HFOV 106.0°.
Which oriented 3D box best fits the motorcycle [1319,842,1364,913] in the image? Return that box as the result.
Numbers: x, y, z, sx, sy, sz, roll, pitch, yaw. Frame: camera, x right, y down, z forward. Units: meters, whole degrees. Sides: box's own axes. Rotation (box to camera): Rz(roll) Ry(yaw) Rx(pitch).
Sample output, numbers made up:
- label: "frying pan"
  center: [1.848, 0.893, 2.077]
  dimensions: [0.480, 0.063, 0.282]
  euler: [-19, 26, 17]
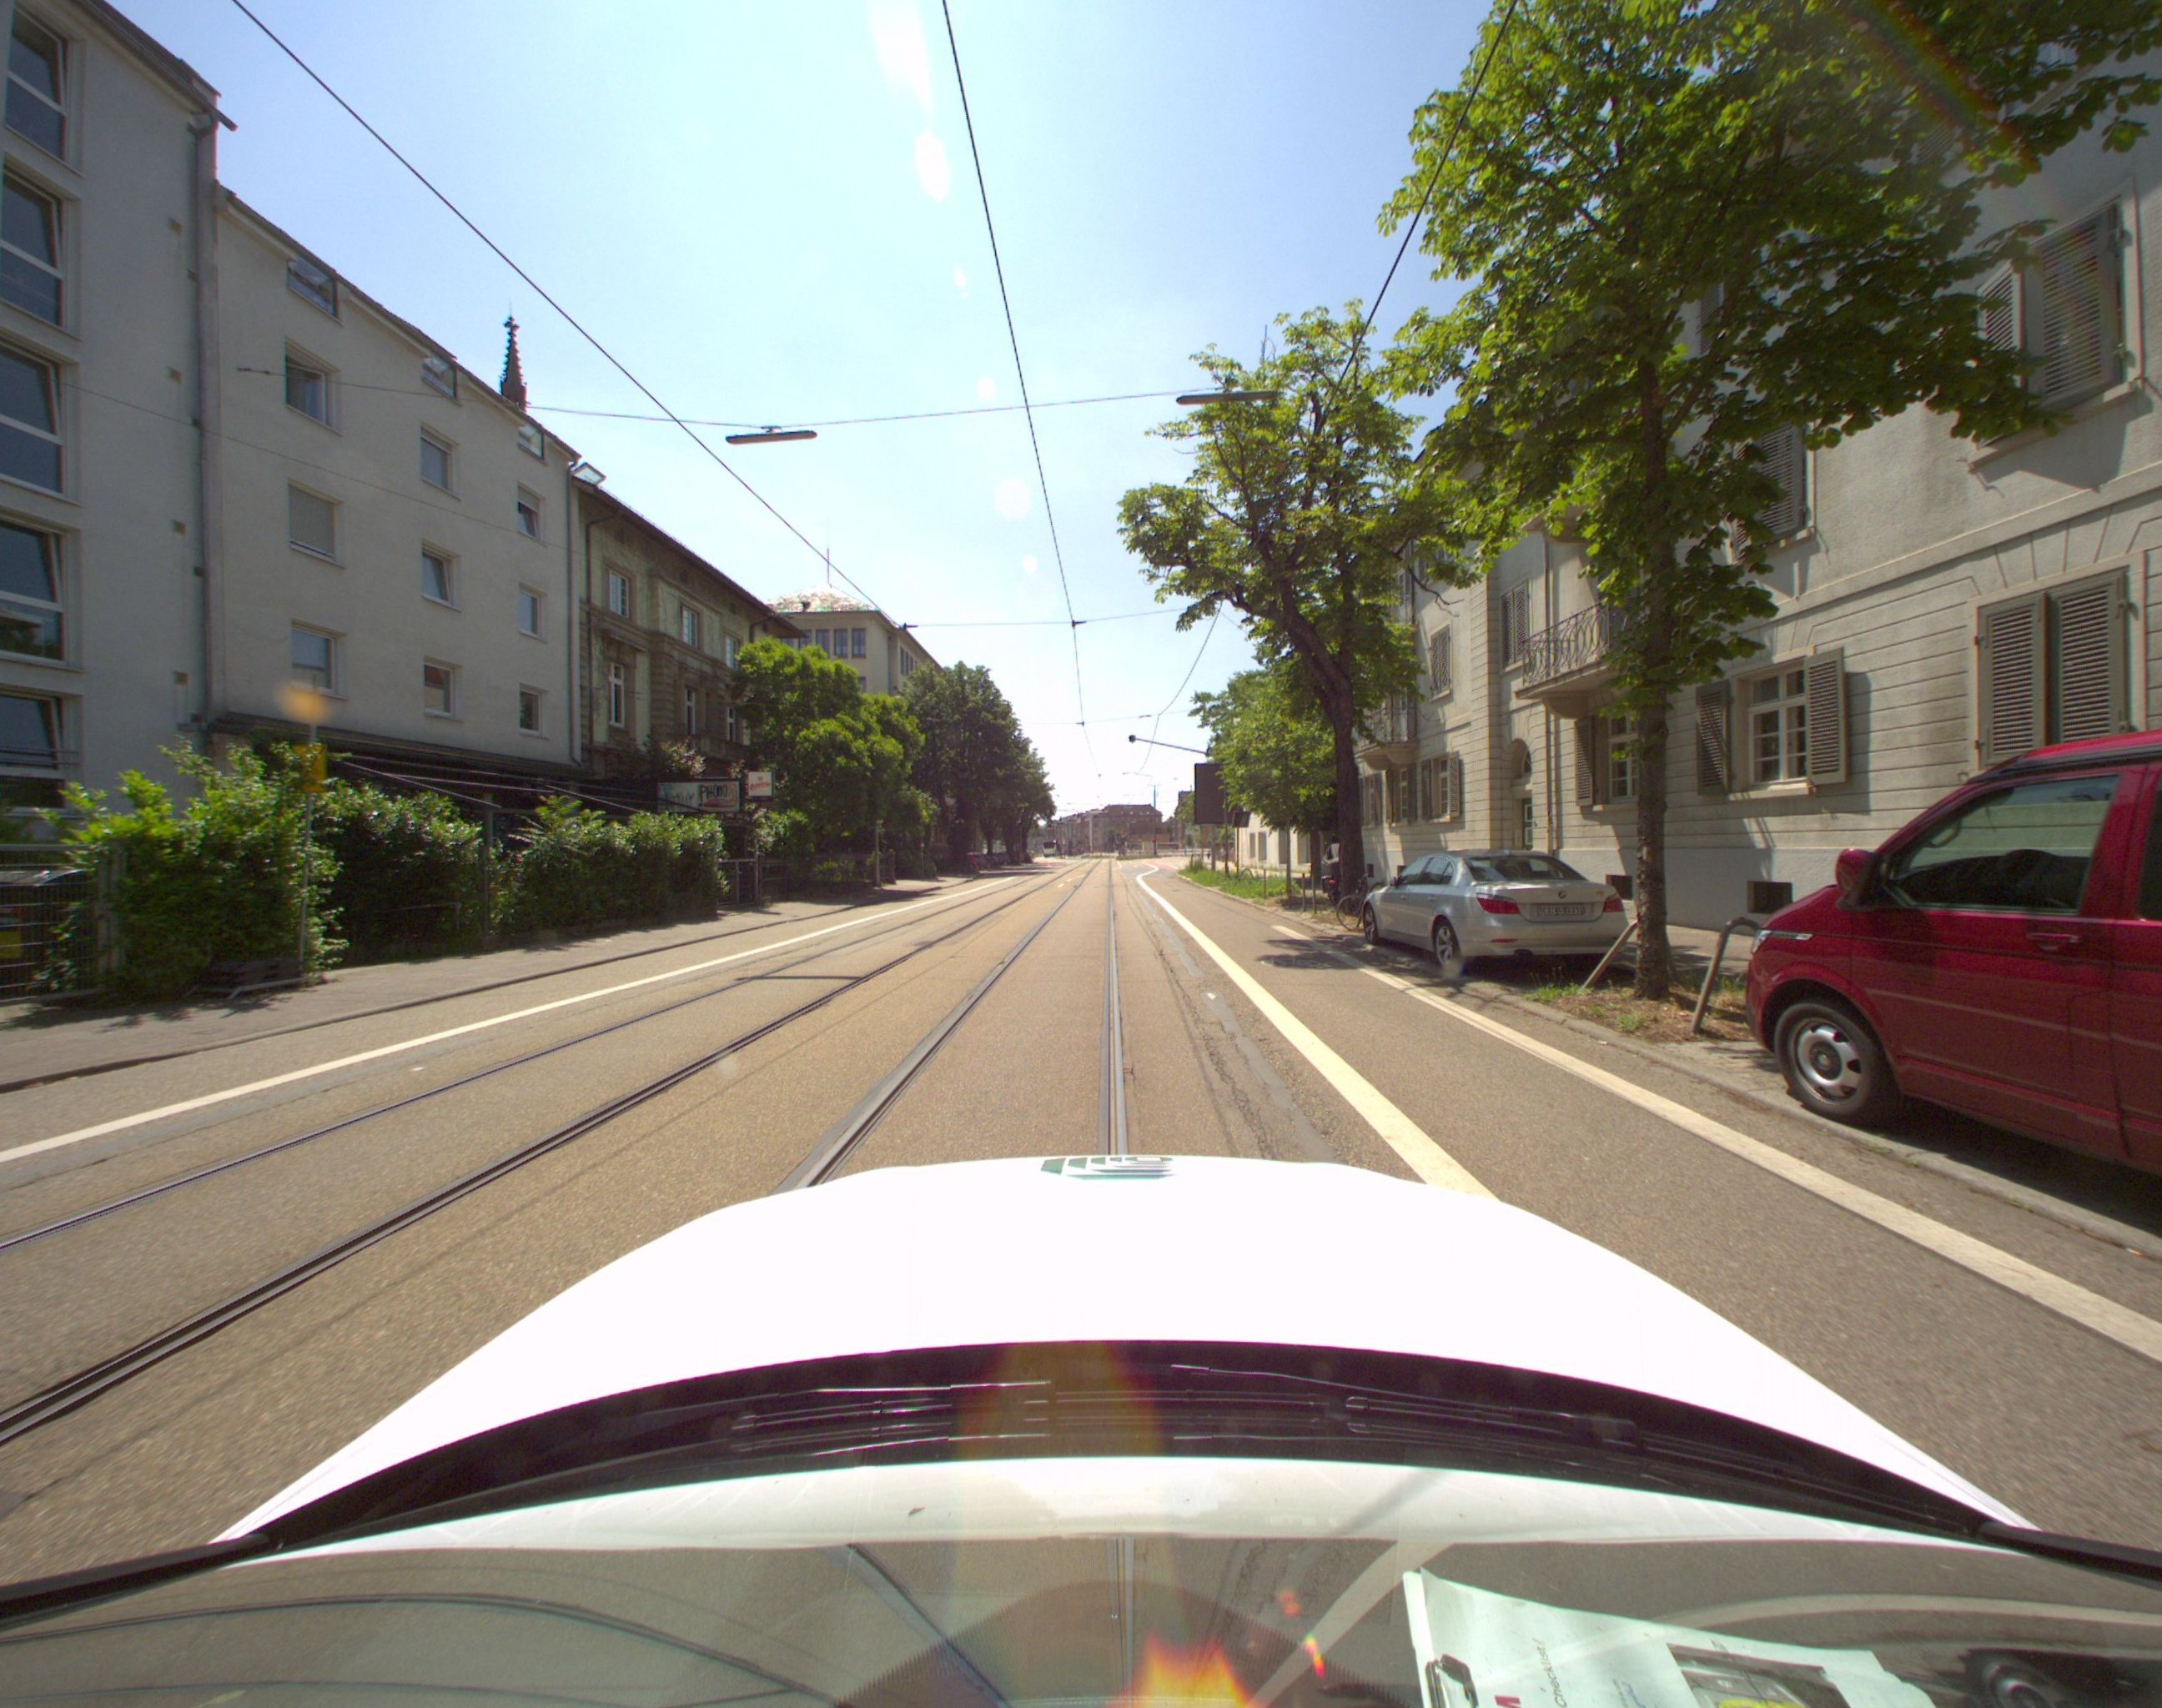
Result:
- label: "motorcycle"
  center: [5.945, 0.493, 18.700]
  dimensions: [0.740, 1.506, 2.568]
  euler: [-1, 0, 13]

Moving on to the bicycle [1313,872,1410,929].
- label: "bicycle"
  center: [5.182, 0.855, 15.069]
  dimensions: [1.651, 1.015, 0.372]
  euler: [-1, 0, 2]

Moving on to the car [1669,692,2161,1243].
- label: "car"
  center: [4.876, 0.405, 3.091]
  dimensions: [1.852, 2.013, 4.979]
  euler: [-1, 0, 2]

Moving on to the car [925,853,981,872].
- label: "car"
  center: [-10.668, 0.683, 67.852]
  dimensions: [4.332, 1.584, 1.654]
  euler: [0, 0, -28]

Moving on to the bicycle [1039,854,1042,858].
- label: "bicycle"
  center: [-9.378, 0.527, 188.374]
  dimensions: [0.501, 0.914, 2.371]
  euler: [-1, 0, 1]

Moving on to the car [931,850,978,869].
- label: "car"
  center: [-10.094, 0.427, 65.027]
  dimensions: [3.357, 1.516, 1.656]
  euler: [0, 0, -24]

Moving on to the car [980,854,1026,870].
- label: "car"
  center: [-7.190, 0.705, 74.996]
  dimensions: [3.939, 1.374, 1.656]
  euler: [-2, 1, -24]

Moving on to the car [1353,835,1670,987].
- label: "car"
  center: [5.321, 0.635, 10.981]
  dimensions: [1.852, 1.577, 4.880]
  euler: [-1, -1, 2]

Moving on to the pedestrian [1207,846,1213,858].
- label: "pedestrian"
  center: [18.380, -0.277, 116.266]
  dimensions: [0.810, 1.808, 0.701]
  euler: [-1, 0, 6]

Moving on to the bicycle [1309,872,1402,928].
- label: "bicycle"
  center: [5.213, 0.869, 15.504]
  dimensions: [1.651, 1.015, 0.372]
  euler: [-1, 0, 2]

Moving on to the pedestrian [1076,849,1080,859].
- label: "pedestrian"
  center: [-0.590, 0.041, 153.511]
  dimensions: [0.672, 1.909, 0.639]
  euler: [-1, 0, -8]

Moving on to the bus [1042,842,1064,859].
- label: "bus"
  center: [-5.479, -0.640, 164.333]
  dimensions: [2.998, 3.158, 17.510]
  euler: [-1, 0, 3]

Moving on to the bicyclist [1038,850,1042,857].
- label: "bicyclist"
  center: [-9.382, -0.133, 188.345]
  dimensions: [0.818, 1.709, 0.770]
  euler: [-1, 0, 0]

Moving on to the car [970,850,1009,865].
- label: "car"
  center: [-9.503, 0.331, 84.382]
  dimensions: [3.684, 1.520, 1.655]
  euler: [0, 0, -27]

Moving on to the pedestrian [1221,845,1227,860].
- label: "pedestrian"
  center: [16.169, -0.165, 91.995]
  dimensions: [0.657, 1.647, 0.626]
  euler: [-1, 0, 7]
